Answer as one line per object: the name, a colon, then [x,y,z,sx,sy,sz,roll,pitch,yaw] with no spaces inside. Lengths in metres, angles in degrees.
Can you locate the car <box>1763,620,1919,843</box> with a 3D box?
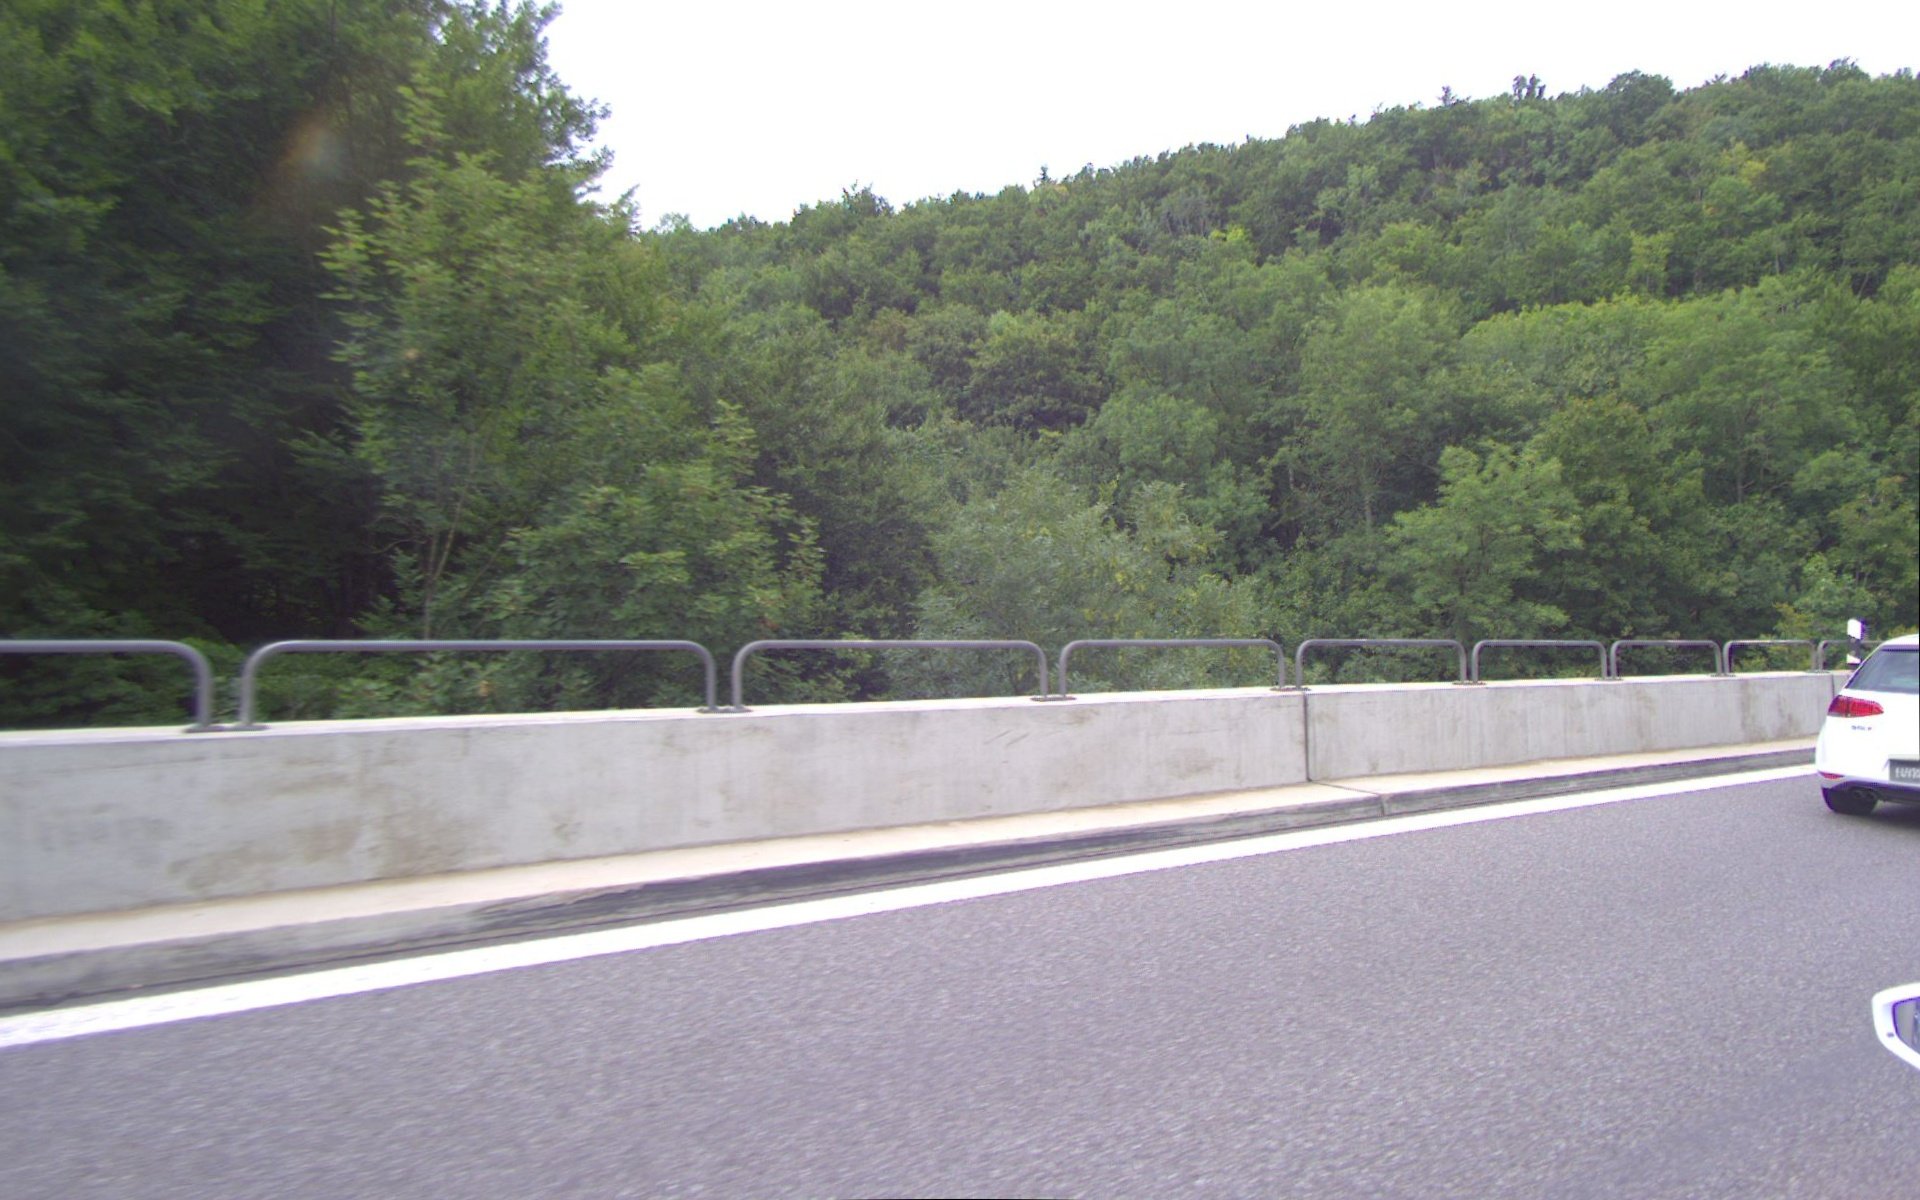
car: [8.533,0.945,7.948,4.572,1.501,1.837,1,0,-30]
